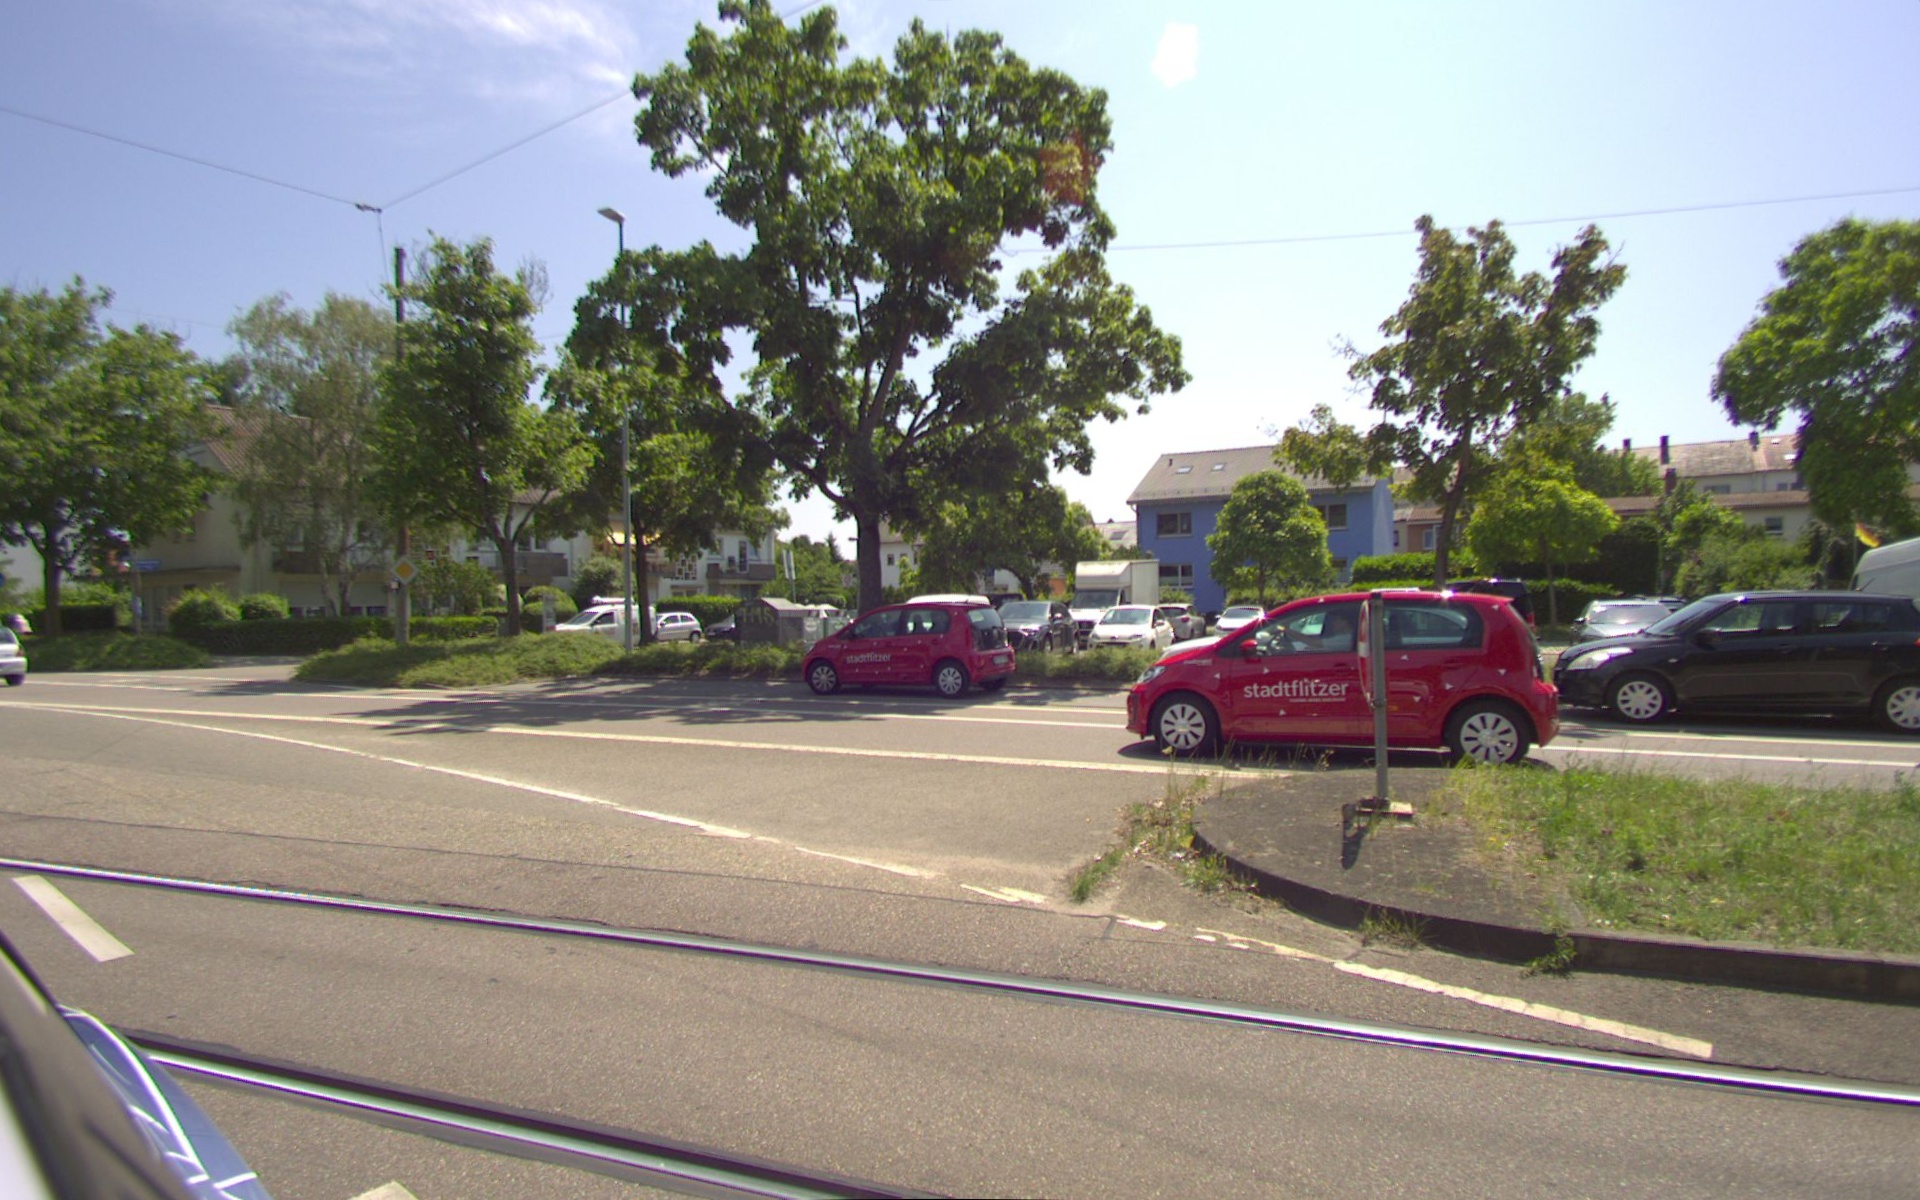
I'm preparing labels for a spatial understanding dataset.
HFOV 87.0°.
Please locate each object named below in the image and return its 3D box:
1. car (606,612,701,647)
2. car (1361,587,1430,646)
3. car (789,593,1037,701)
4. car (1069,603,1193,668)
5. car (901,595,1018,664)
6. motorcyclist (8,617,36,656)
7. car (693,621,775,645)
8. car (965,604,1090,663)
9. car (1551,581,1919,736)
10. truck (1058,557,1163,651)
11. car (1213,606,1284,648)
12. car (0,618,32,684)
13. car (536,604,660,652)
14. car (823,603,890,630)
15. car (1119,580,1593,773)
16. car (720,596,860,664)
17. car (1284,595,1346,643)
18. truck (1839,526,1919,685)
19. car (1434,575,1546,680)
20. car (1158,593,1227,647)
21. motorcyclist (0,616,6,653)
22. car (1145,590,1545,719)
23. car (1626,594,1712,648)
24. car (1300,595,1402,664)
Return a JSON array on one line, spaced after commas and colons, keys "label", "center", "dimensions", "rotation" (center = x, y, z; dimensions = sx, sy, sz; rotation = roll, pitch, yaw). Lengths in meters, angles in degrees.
[{"label": "car", "center": [-13.321, 1.250, 44.102], "dimensions": [1.542, 1.404, 3.862], "rotation": [-2, -1, 34]}, {"label": "car", "center": [14.668, 0.519, 33.993], "dimensions": [1.960, 1.834, 4.106], "rotation": [-1, 0, 25]}, {"label": "car", "center": [-0.779, 0.703, 16.449], "dimensions": [3.710, 1.557, 1.661], "rotation": [-1, 1, 29]}, {"label": "car", "center": [4.456, 0.852, 25.850], "dimensions": [1.923, 1.520, 4.096], "rotation": [-2, -1, 28]}, {"label": "car", "center": [0.068, 0.808, 29.307], "dimensions": [1.664, 1.849, 4.242], "rotation": [-1, -1, 27]}, {"label": "motorcyclist", "center": [-37.379, 1.452, 40.329], "dimensions": [0.659, 1.514, 0.583], "rotation": [-2, 2, 27]}, {"label": "car", "center": [-10.660, 1.552, 47.911], "dimensions": [1.542, 1.000, 3.704], "rotation": [-1, -1, 35]}, {"label": "car", "center": [1.846, 0.822, 26.264], "dimensions": [2.067, 1.414, 4.179], "rotation": [-1, -1, 22]}, {"label": "car", "center": [9.012, 0.612, 11.595], "dimensions": [3.767, 1.495, 1.604], "rotation": [-1, 3, 28]}, {"label": "truck", "center": [5.904, 0.127, 38.758], "dimensions": [2.138, 3.252, 6.943], "rotation": [-2, 0, 24]}, {"label": "car", "center": [10.477, 0.937, 36.604], "dimensions": [1.807, 1.343, 4.105], "rotation": [-2, 0, 25]}, {"label": "car", "center": [-22.075, 1.119, 21.946], "dimensions": [3.791, 1.387, 1.639], "rotation": [-1, -1, 26]}, {"label": "car", "center": [-13.789, 1.031, 38.734], "dimensions": [1.739, 1.719, 4.180], "rotation": [-1, -1, 39]}, {"label": "car", "center": [-5.650, 0.905, 55.617], "dimensions": [1.542, 1.404, 3.862], "rotation": [-2, -1, 34]}, {"label": "car", "center": [3.388, 0.610, 8.996], "dimensions": [3.586, 1.420, 1.648], "rotation": [-1, -2, 26]}, {"label": "car", "center": [-5.022, 0.865, 30.536], "dimensions": [2.048, 1.871, 4.426], "rotation": [-1, -1, 24]}, {"label": "car", "center": [12.680, 0.636, 36.011], "dimensions": [1.723, 1.587, 3.727], "rotation": [-2, 0, 25]}, {"label": "truck", "center": [18.376, 0.077, 18.245], "dimensions": [2.420, 2.780, 5.545], "rotation": [-1, -1, 27]}, {"label": "car", "center": [11.204, 0.552, 21.637], "dimensions": [1.846, 2.010, 4.188], "rotation": [-1, -1, 25]}, {"label": "car", "center": [8.719, 0.707, 37.742], "dimensions": [1.638, 1.834, 4.106], "rotation": [-2, 0, 25]}, {"label": "motorcyclist", "center": [-39.733, 1.428, 41.529], "dimensions": [0.721, 1.514, 0.583], "rotation": [-2, 2, 27]}, {"label": "car", "center": [5.058, 0.693, 13.690], "dimensions": [4.742, 1.437, 1.711], "rotation": [-1, 3, 25]}, {"label": "car", "center": [21.942, 0.611, 31.468], "dimensions": [1.501, 1.530, 4.105], "rotation": [-2, 0, 26]}, {"label": "car", "center": [9.587, 0.674, 24.613], "dimensions": [2.046, 1.500, 4.737], "rotation": [-1, -1, 24]}]
